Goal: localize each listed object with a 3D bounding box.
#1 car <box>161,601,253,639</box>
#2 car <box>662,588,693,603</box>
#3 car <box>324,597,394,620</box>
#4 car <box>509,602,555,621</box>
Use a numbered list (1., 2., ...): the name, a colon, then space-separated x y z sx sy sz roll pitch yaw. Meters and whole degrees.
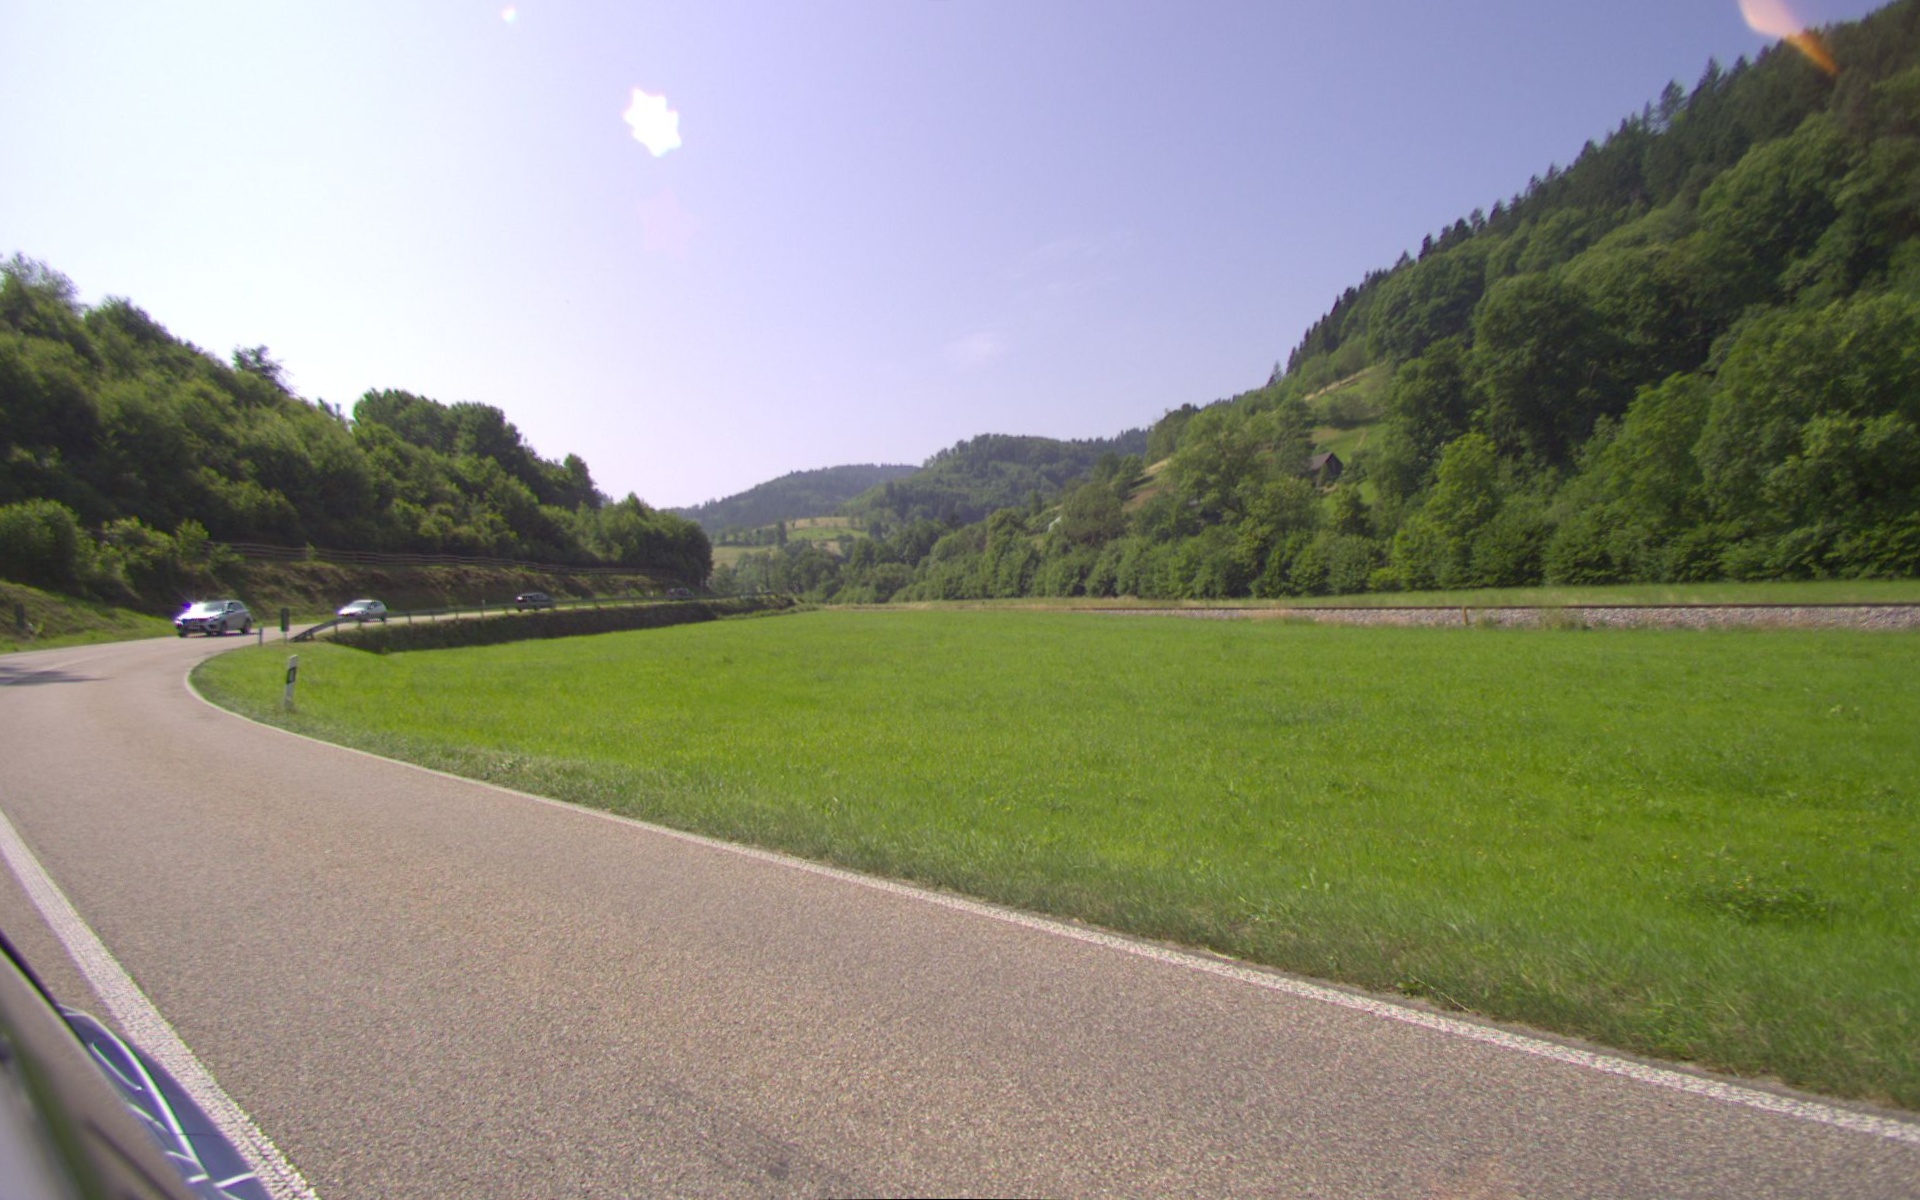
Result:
1. car: -38.359 1.013 51.707 2.084 1.828 4.466 -2 -1 -12
2. car: -33.795 -0.517 121.233 1.932 1.753 4.887 -1 0 6
3. car: -41.022 0.576 69.212 2.117 1.502 4.673 -2 -1 -1
4. car: -38.114 1.027 90.226 1.857 1.599 4.590 -2 -1 3
